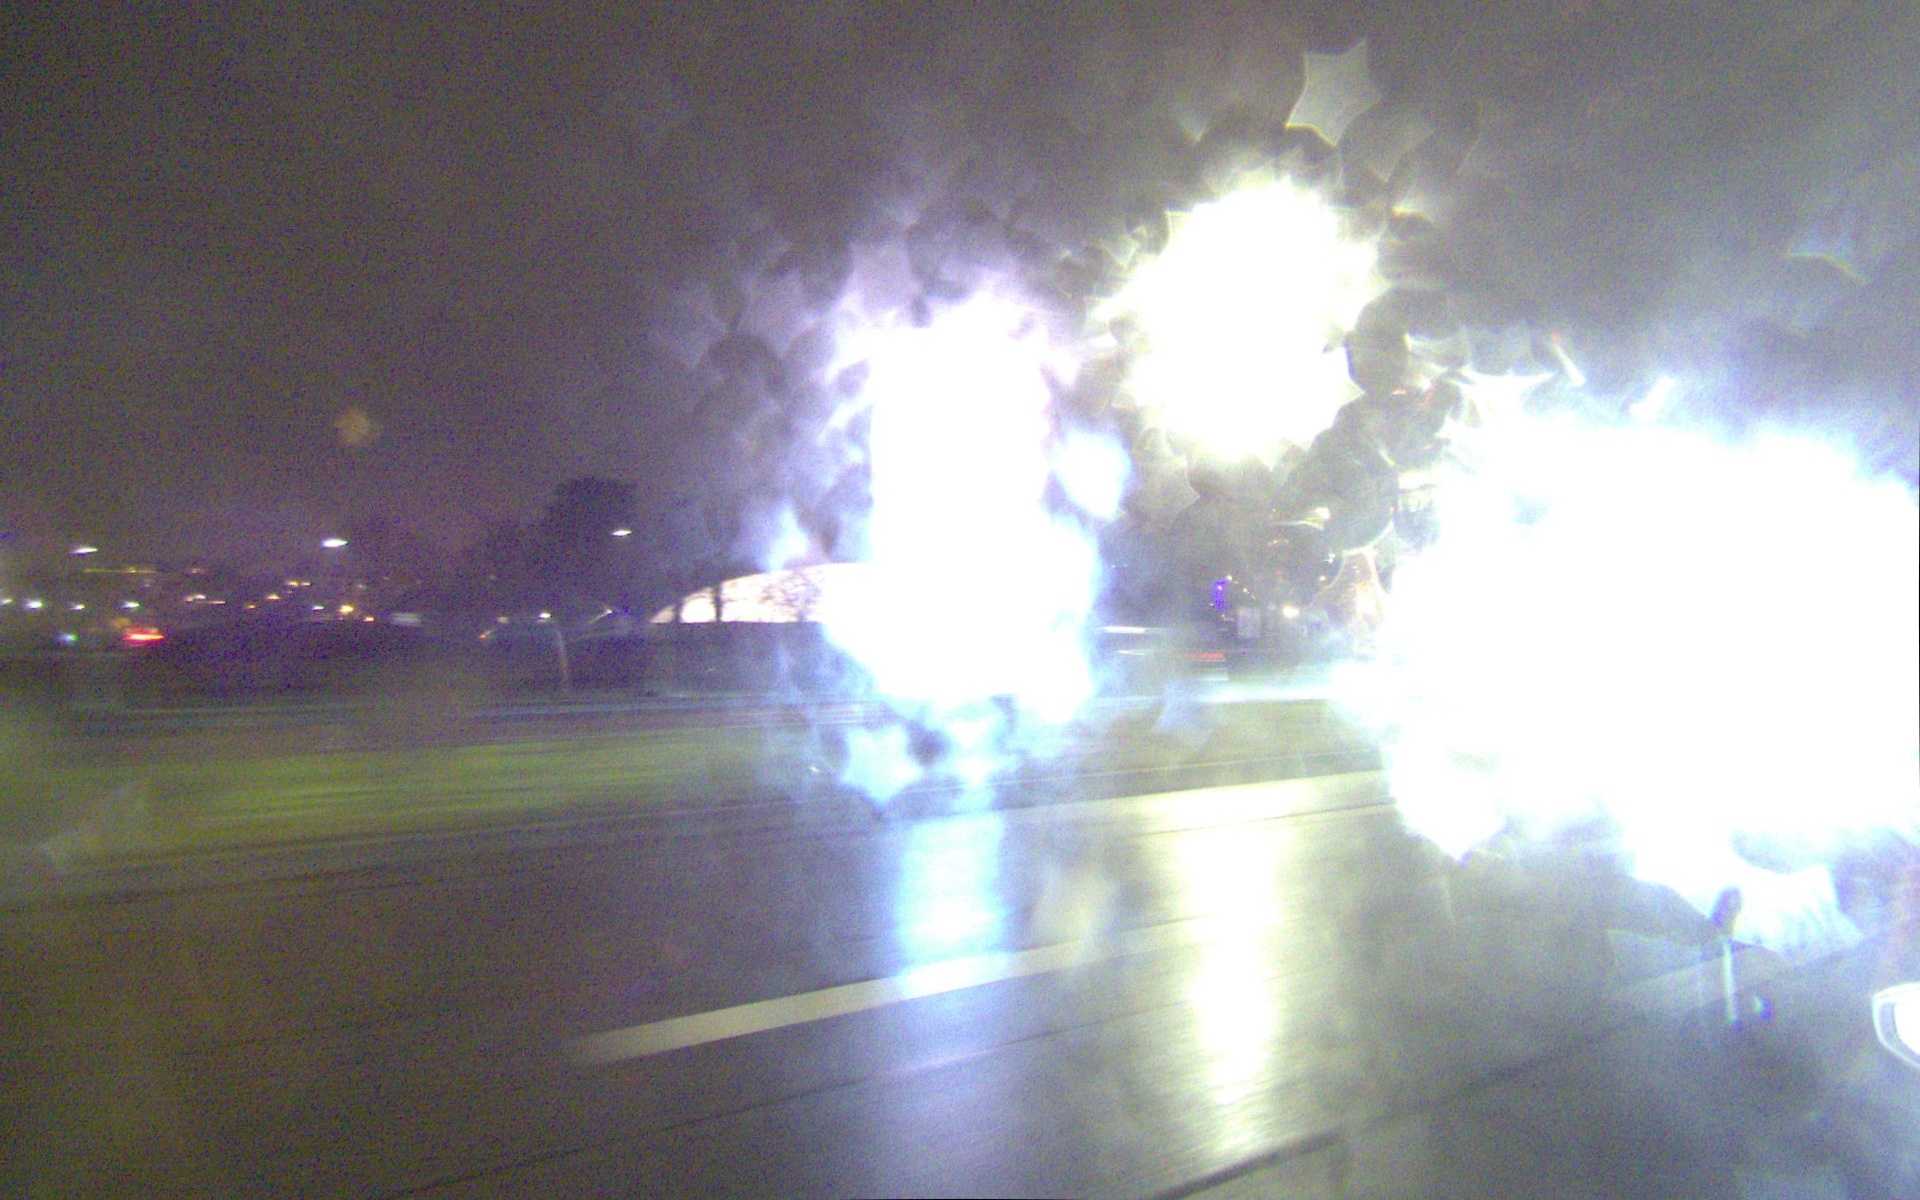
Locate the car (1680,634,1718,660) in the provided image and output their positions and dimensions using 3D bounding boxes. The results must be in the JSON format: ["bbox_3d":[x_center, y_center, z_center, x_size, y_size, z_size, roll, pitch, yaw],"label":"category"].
[{"bbox_3d":[55.426,3.462,75.261,2.032,1.755,5.108,0,-1,39],"label":"car"}]

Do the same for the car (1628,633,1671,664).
[{"bbox_3d":[42.713,2.977,62.168,2.037,1.738,5.022,0,-1,36],"label":"car"}]

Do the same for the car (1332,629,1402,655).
[{"bbox_3d":[26.304,2.717,65.030,3.919,1.595,1.761,0,0,14],"label":"car"}]

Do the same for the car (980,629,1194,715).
[{"bbox_3d":[2.528,1.330,19.715,3.956,1.484,1.819,1,-1,-33],"label":"car"}]

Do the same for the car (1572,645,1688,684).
[{"bbox_3d":[27.762,2.632,41.571,5.290,1.421,1.983,1,-1,-32],"label":"car"}]

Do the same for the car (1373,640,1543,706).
[{"bbox_3d":[12.928,1.817,25.994,4.607,1.484,1.819,1,-1,-32],"label":"car"}]
